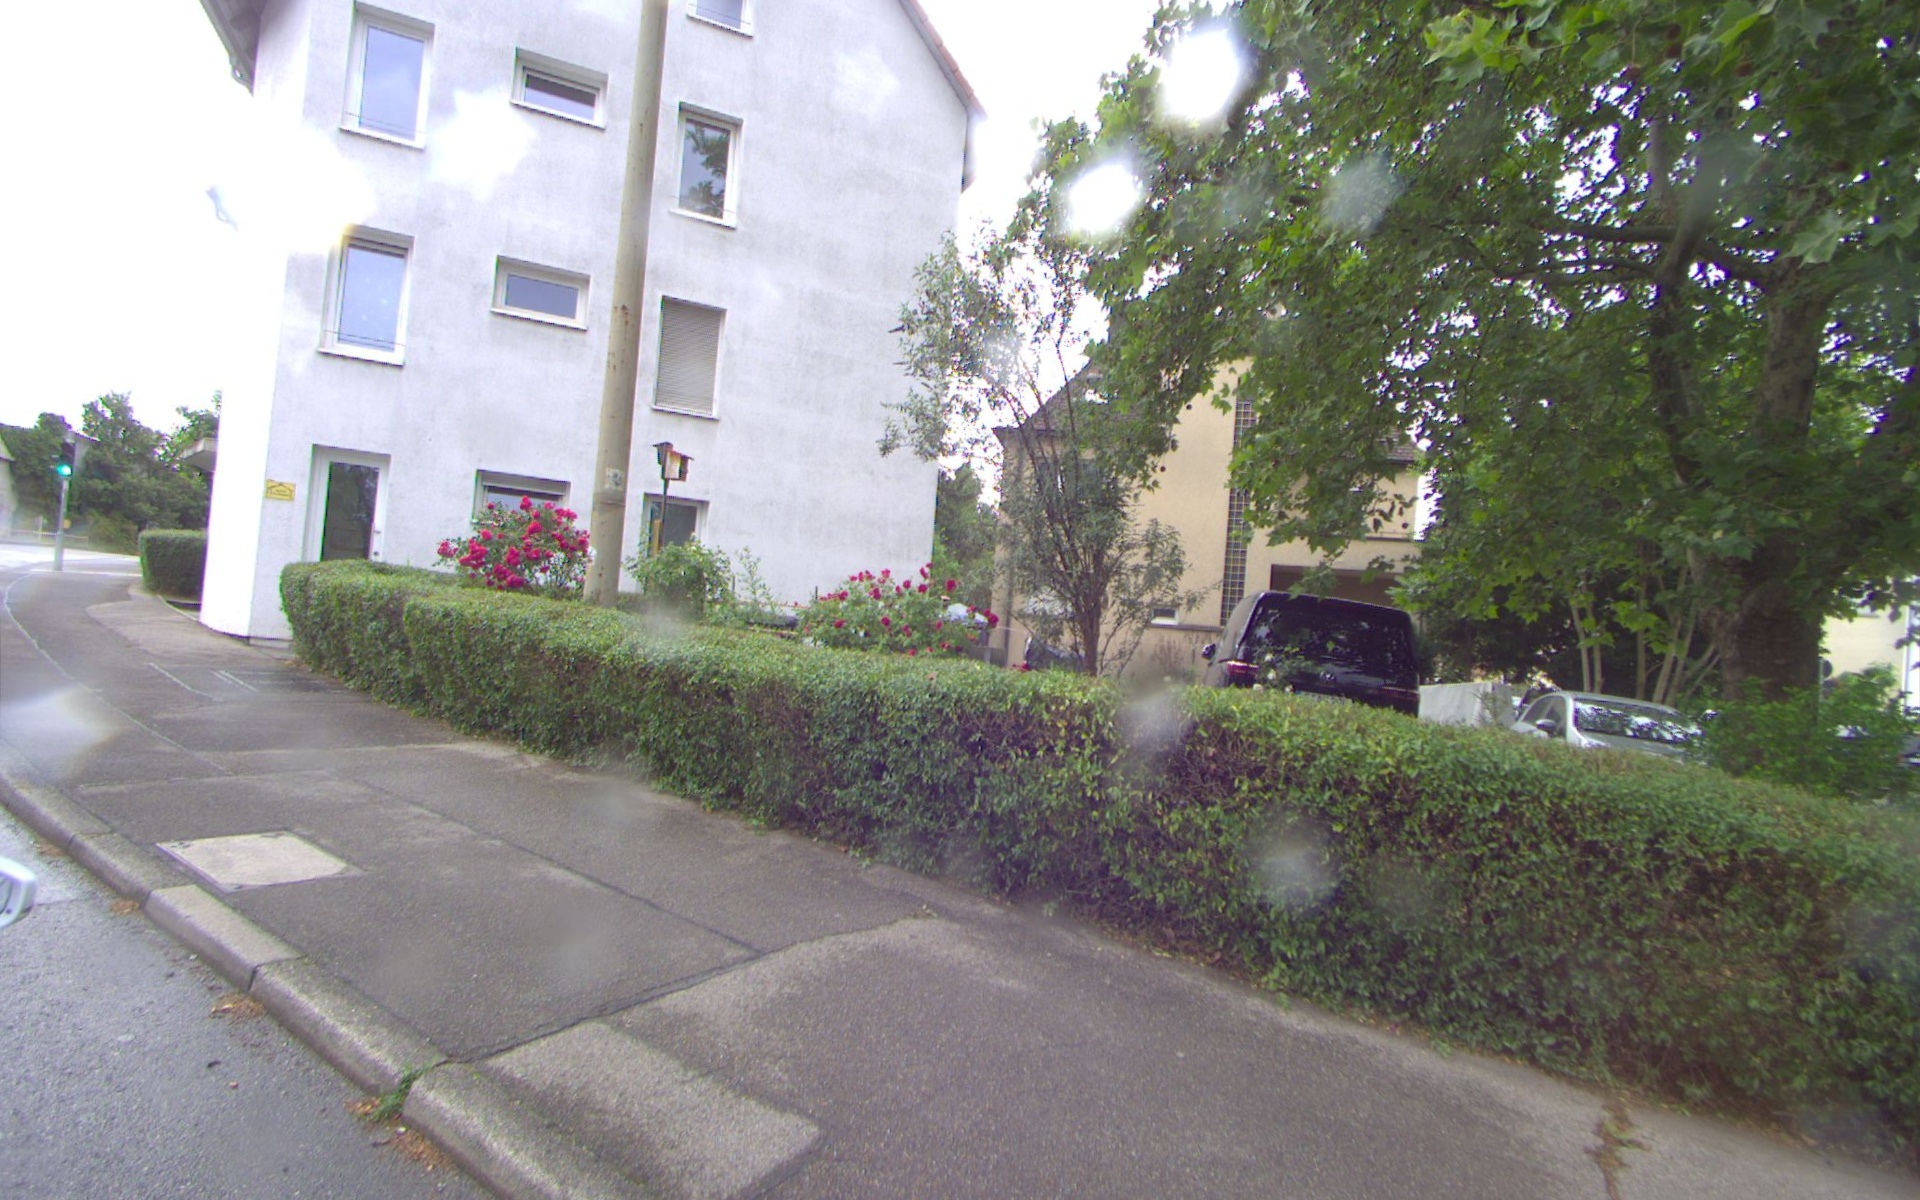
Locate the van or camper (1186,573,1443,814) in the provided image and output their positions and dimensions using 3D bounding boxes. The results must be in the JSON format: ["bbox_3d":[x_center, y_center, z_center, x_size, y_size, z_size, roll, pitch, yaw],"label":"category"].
[{"bbox_3d":[3.643,0.944,11.179,1.962,1.926,4.333,7,-2,12],"label":"van or camper"}]

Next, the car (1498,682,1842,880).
[{"bbox_3d":[7.472,1.778,11.119,1.963,1.481,4.002,6,-2,20],"label":"car"}]
